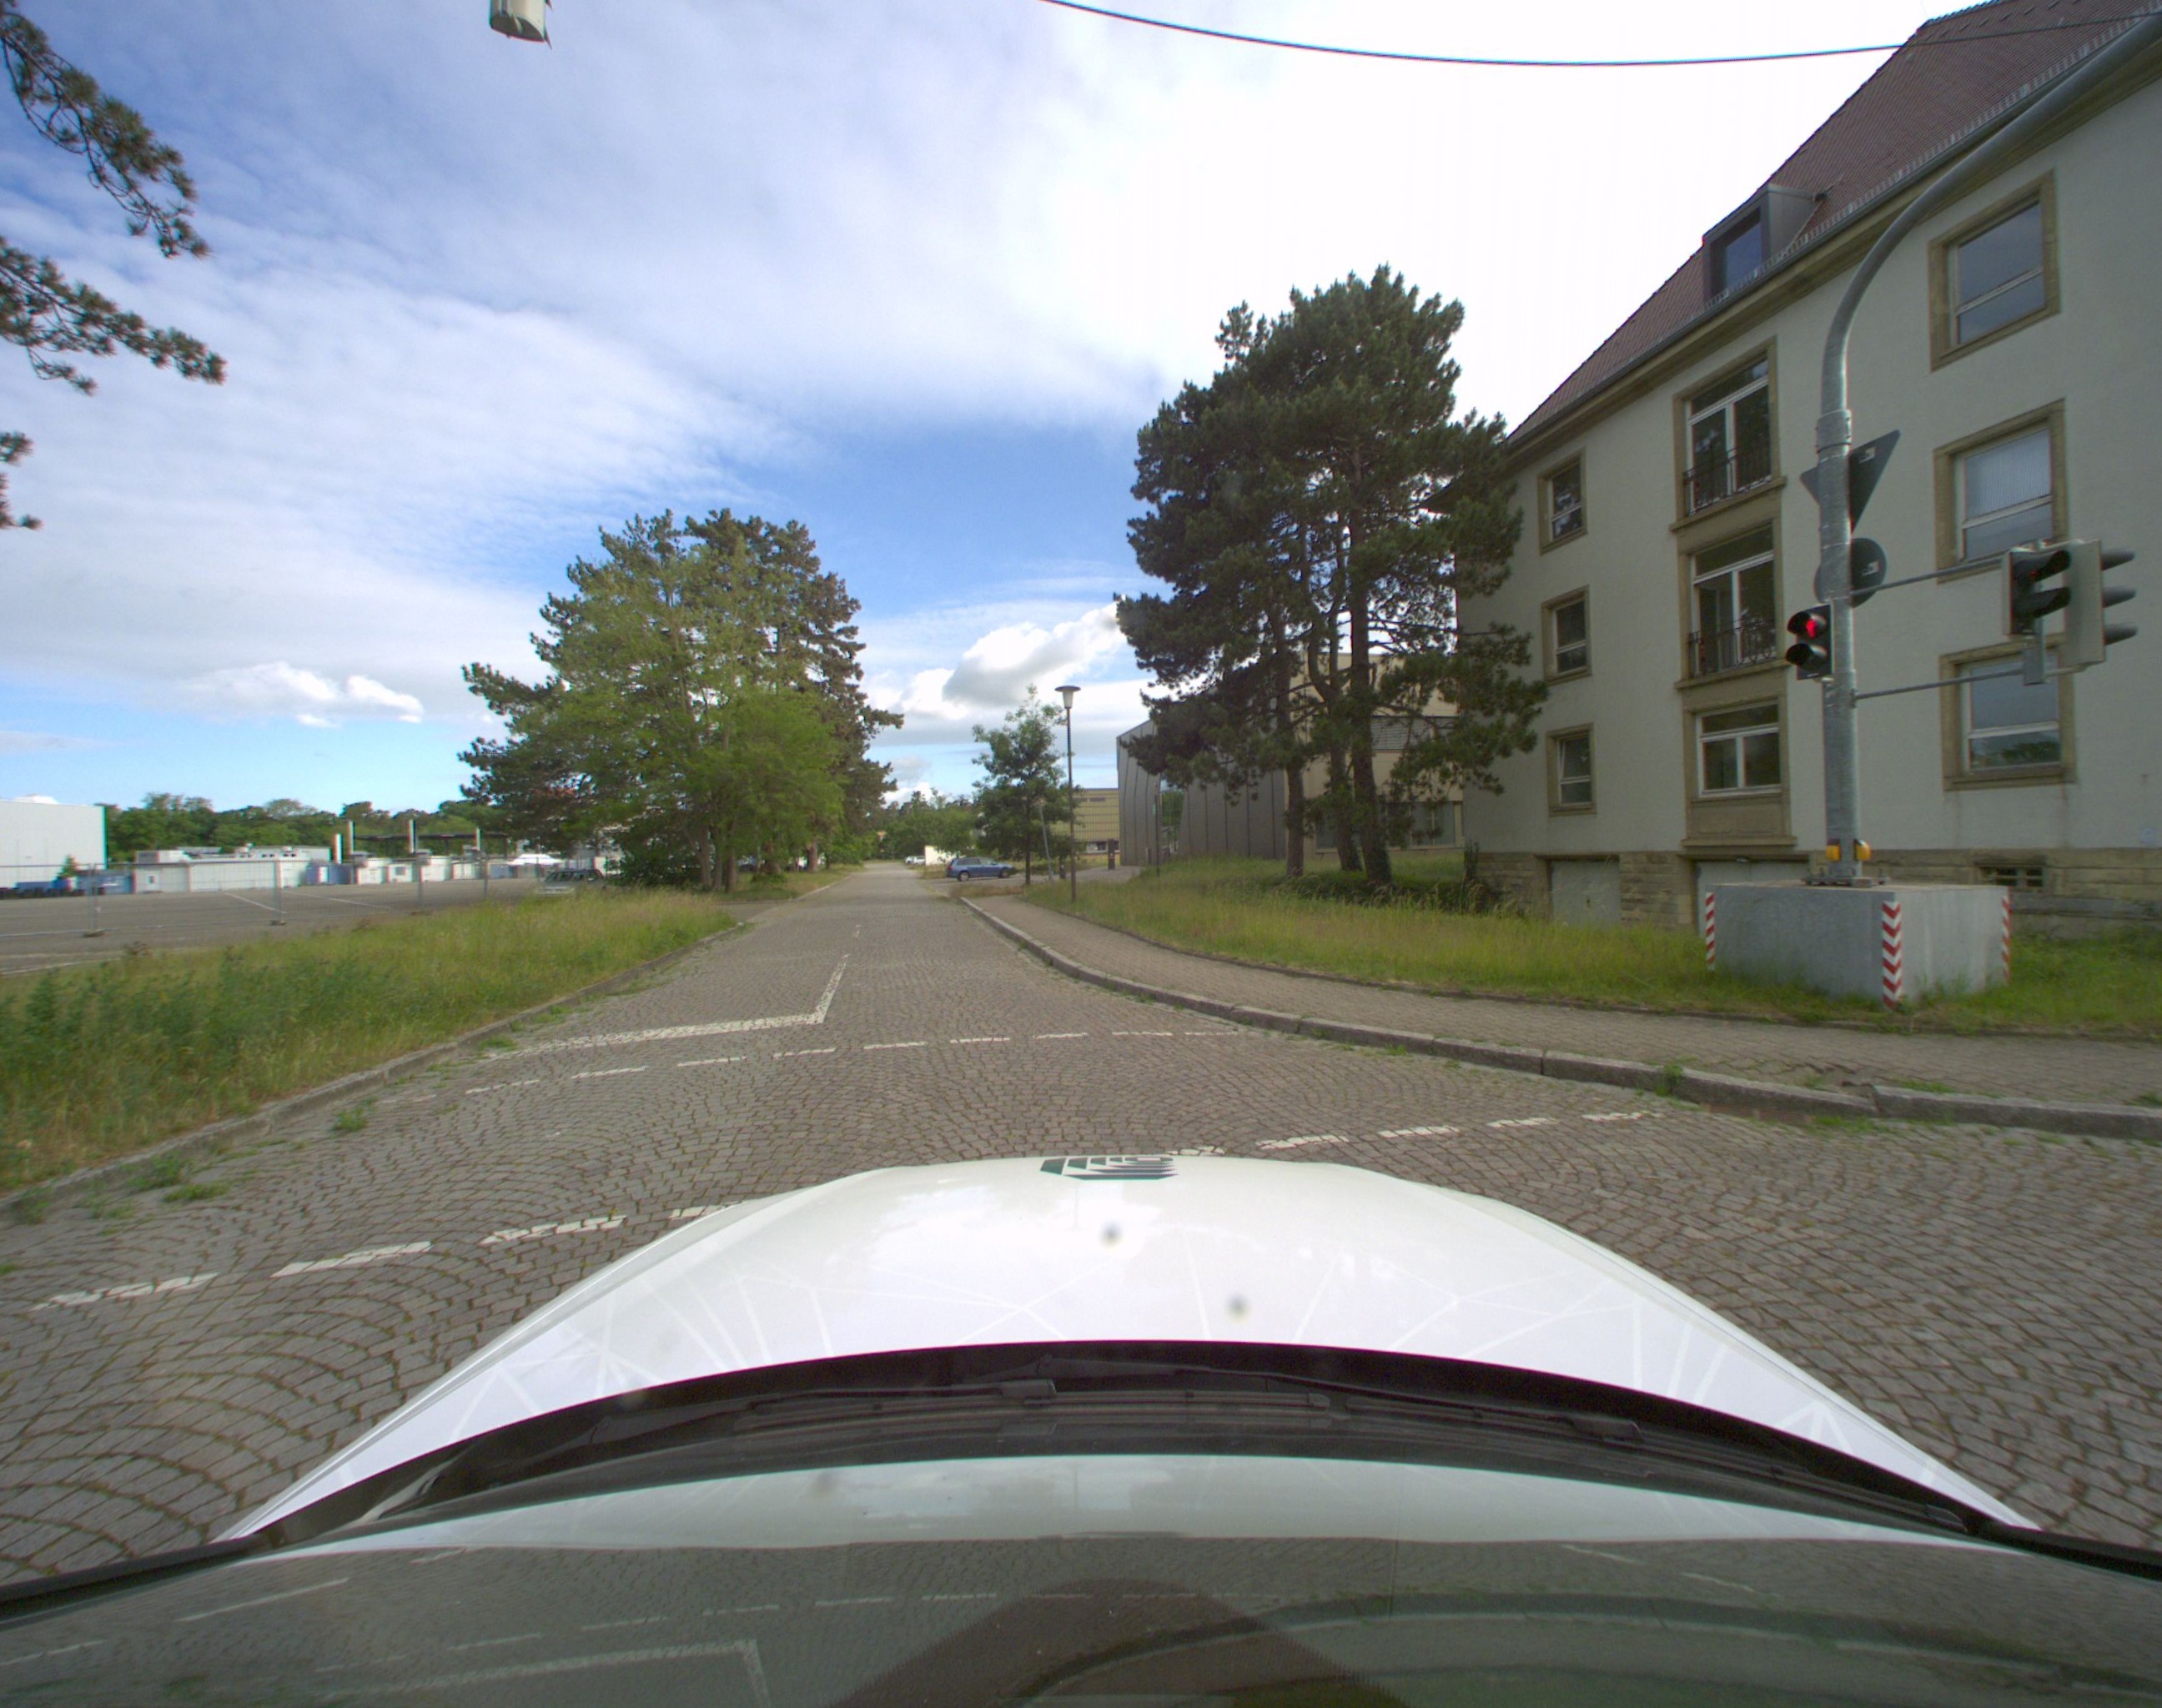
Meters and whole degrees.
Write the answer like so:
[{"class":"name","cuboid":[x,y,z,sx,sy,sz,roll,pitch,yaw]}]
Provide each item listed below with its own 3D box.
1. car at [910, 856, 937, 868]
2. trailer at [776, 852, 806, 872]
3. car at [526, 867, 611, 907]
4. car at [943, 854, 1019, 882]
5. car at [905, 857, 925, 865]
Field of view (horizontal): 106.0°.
[{"class":"car","cuboid":[-23.801,1.244,123.334,3.858,1.654,1.677,-2,0,-17]},{"class":"trailer","cuboid":[-46.483,1.274,130.629,3.161,3.067,8.749,-2,0,-12]},{"class":"car","cuboid":[-21.070,1.306,33.671,1.719,1.438,4.443,-2,0,-16]},{"class":"car","cuboid":[-6.431,0.897,52.221,4.533,1.443,1.813,-4,1,-17]},{"class":"car","cuboid":[-34.226,1.385,168.077,4.030,1.502,1.541,-2,0,-13]}]
